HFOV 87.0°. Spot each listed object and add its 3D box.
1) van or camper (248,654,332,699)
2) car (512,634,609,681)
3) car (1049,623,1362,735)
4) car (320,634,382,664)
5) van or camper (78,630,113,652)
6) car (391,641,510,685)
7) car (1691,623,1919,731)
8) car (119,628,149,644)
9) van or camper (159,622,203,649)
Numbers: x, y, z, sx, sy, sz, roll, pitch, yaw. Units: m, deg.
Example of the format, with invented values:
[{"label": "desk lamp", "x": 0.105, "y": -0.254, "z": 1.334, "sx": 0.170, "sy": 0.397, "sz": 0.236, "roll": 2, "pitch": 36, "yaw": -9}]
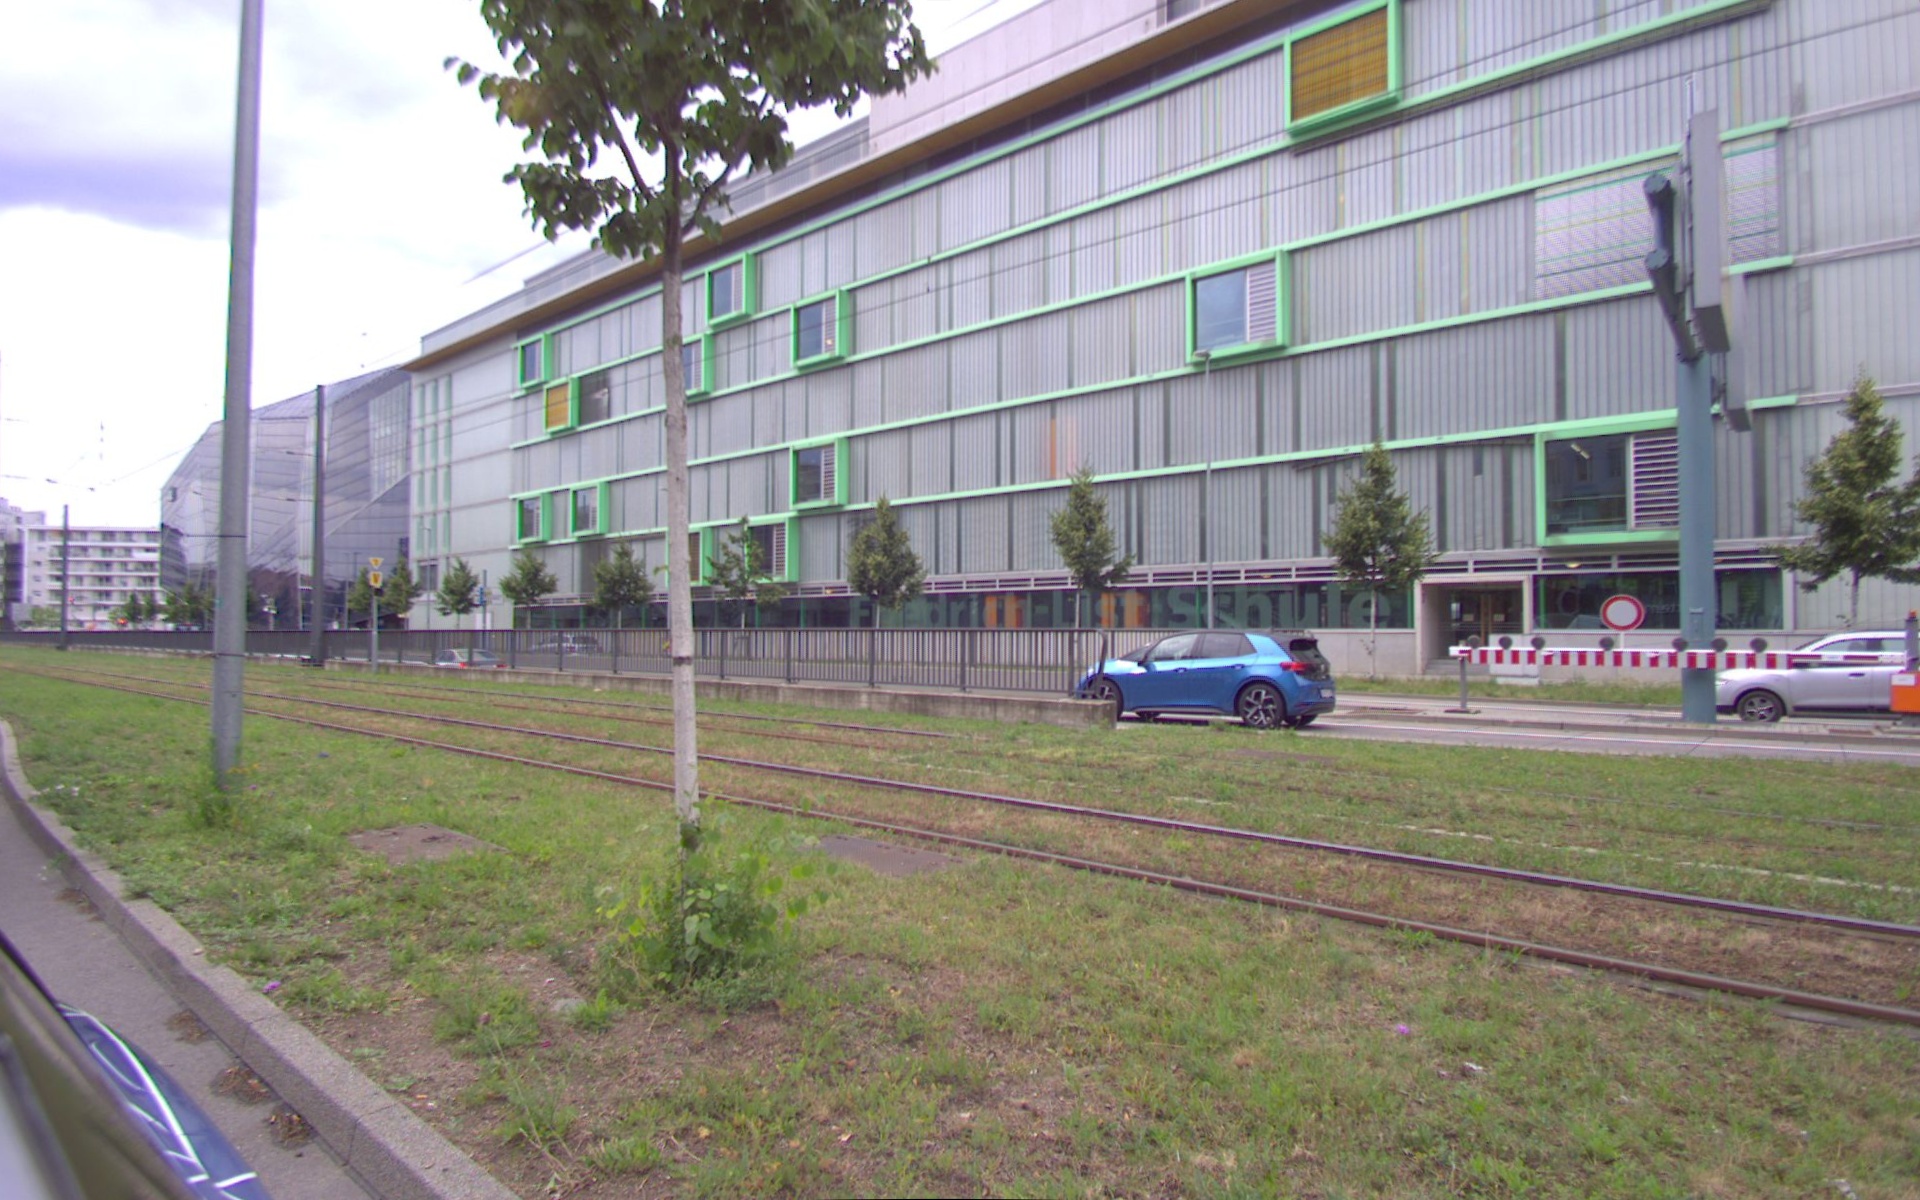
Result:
[{"label": "van or camper", "x": -31.753, "y": 3.558, "z": 47.881, "sx": 5.120, "sy": 1.915, "sz": 1.870, "roll": -1, "pitch": -3, "yaw": 40}, {"label": "car", "x": -18.274, "y": 2.563, "z": 46.185, "sx": 5.292, "sy": 2.029, "sz": 1.972, "roll": -2, "pitch": -2, "yaw": 42}, {"label": "car", "x": 3.974, "y": 1.206, "z": 16.823, "sx": 4.681, "sy": 1.600, "sz": 1.945, "roll": -2, "pitch": -2, "yaw": 37}, {"label": "car", "x": -38.894, "y": 3.104, "z": 64.585, "sx": 4.965, "sy": 1.837, "sz": 1.972, "roll": -2, "pitch": -2, "yaw": 42}, {"label": "van or camper", "x": -97.736, "y": 4.641, "z": 114.376, "sx": 6.503, "sy": 2.304, "sz": 2.150, "roll": -2, "pitch": -2, "yaw": 42}, {"label": "car", "x": -18.055, "y": 2.217, "z": 35.779, "sx": 4.913, "sy": 1.456, "sz": 1.712, "roll": -2, "pitch": -4, "yaw": 37}, {"label": "car", "x": 15.045, "y": 1.233, "z": 16.856, "sx": 4.574, "sy": 1.582, "sz": 1.779, "roll": 0, "pitch": 1, "yaw": 39}, {"label": "car", "x": -92.864, "y": 4.059, "z": 113.752, "sx": 4.766, "sy": 1.605, "sz": 1.972, "roll": -4, "pitch": -4, "yaw": 43}, {"label": "van or camper", "x": -69.822, "y": 3.188, "z": 90.684, "sx": 5.356, "sy": 2.304, "sz": 2.150, "roll": -2, "pitch": -2, "yaw": 41}]
